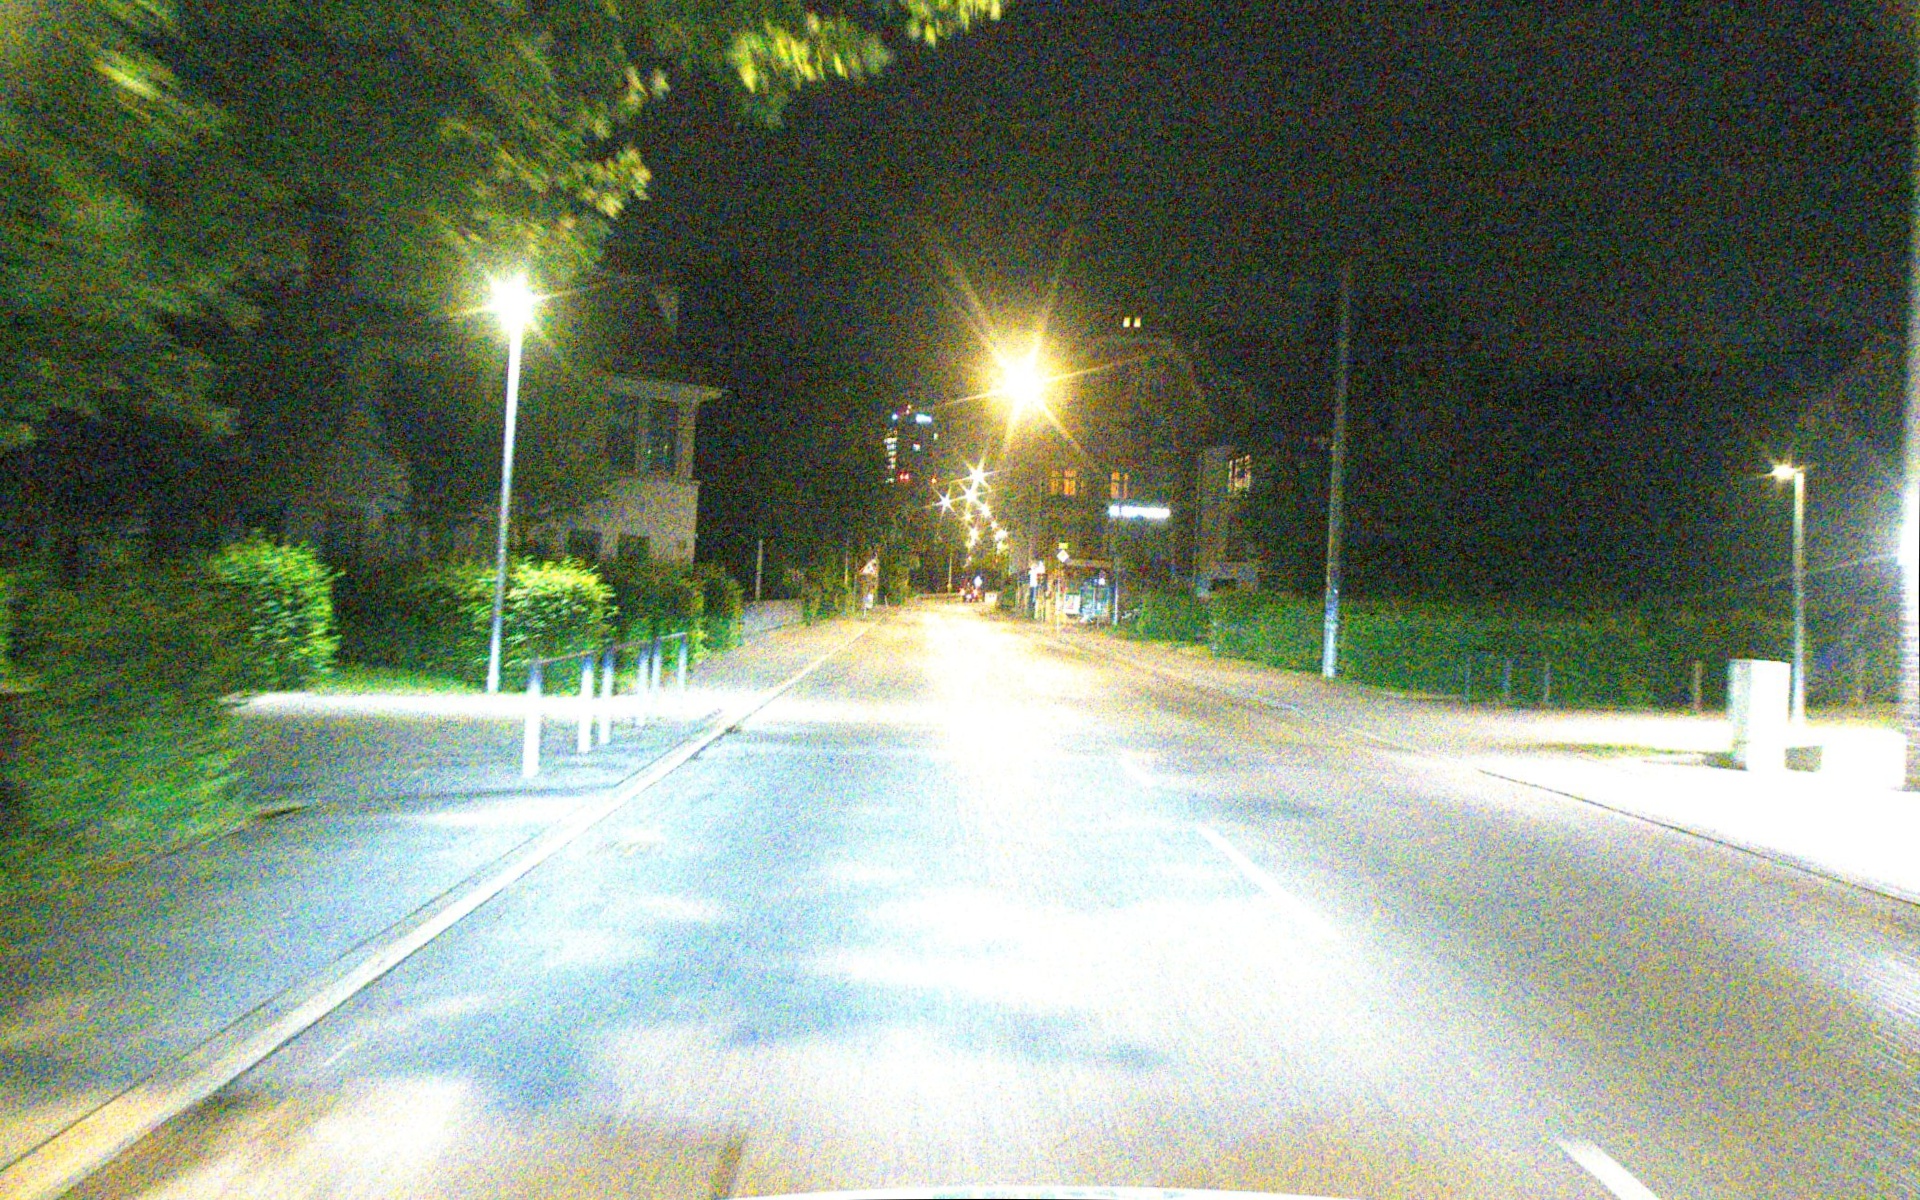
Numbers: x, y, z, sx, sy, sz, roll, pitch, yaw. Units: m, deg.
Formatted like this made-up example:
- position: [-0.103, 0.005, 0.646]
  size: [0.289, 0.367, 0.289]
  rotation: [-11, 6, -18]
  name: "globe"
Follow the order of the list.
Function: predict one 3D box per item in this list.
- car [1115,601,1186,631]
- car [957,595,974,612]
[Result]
- position: [11.062, 0.914, 96.096]
  size: [3.762, 1.571, 1.807]
  rotation: [2, 0, -4]
  name: "car"
- position: [0.606, 0.456, 197.744]
  size: [1.886, 1.887, 3.999]
  rotation: [2, -2, -1]
  name: "car"
